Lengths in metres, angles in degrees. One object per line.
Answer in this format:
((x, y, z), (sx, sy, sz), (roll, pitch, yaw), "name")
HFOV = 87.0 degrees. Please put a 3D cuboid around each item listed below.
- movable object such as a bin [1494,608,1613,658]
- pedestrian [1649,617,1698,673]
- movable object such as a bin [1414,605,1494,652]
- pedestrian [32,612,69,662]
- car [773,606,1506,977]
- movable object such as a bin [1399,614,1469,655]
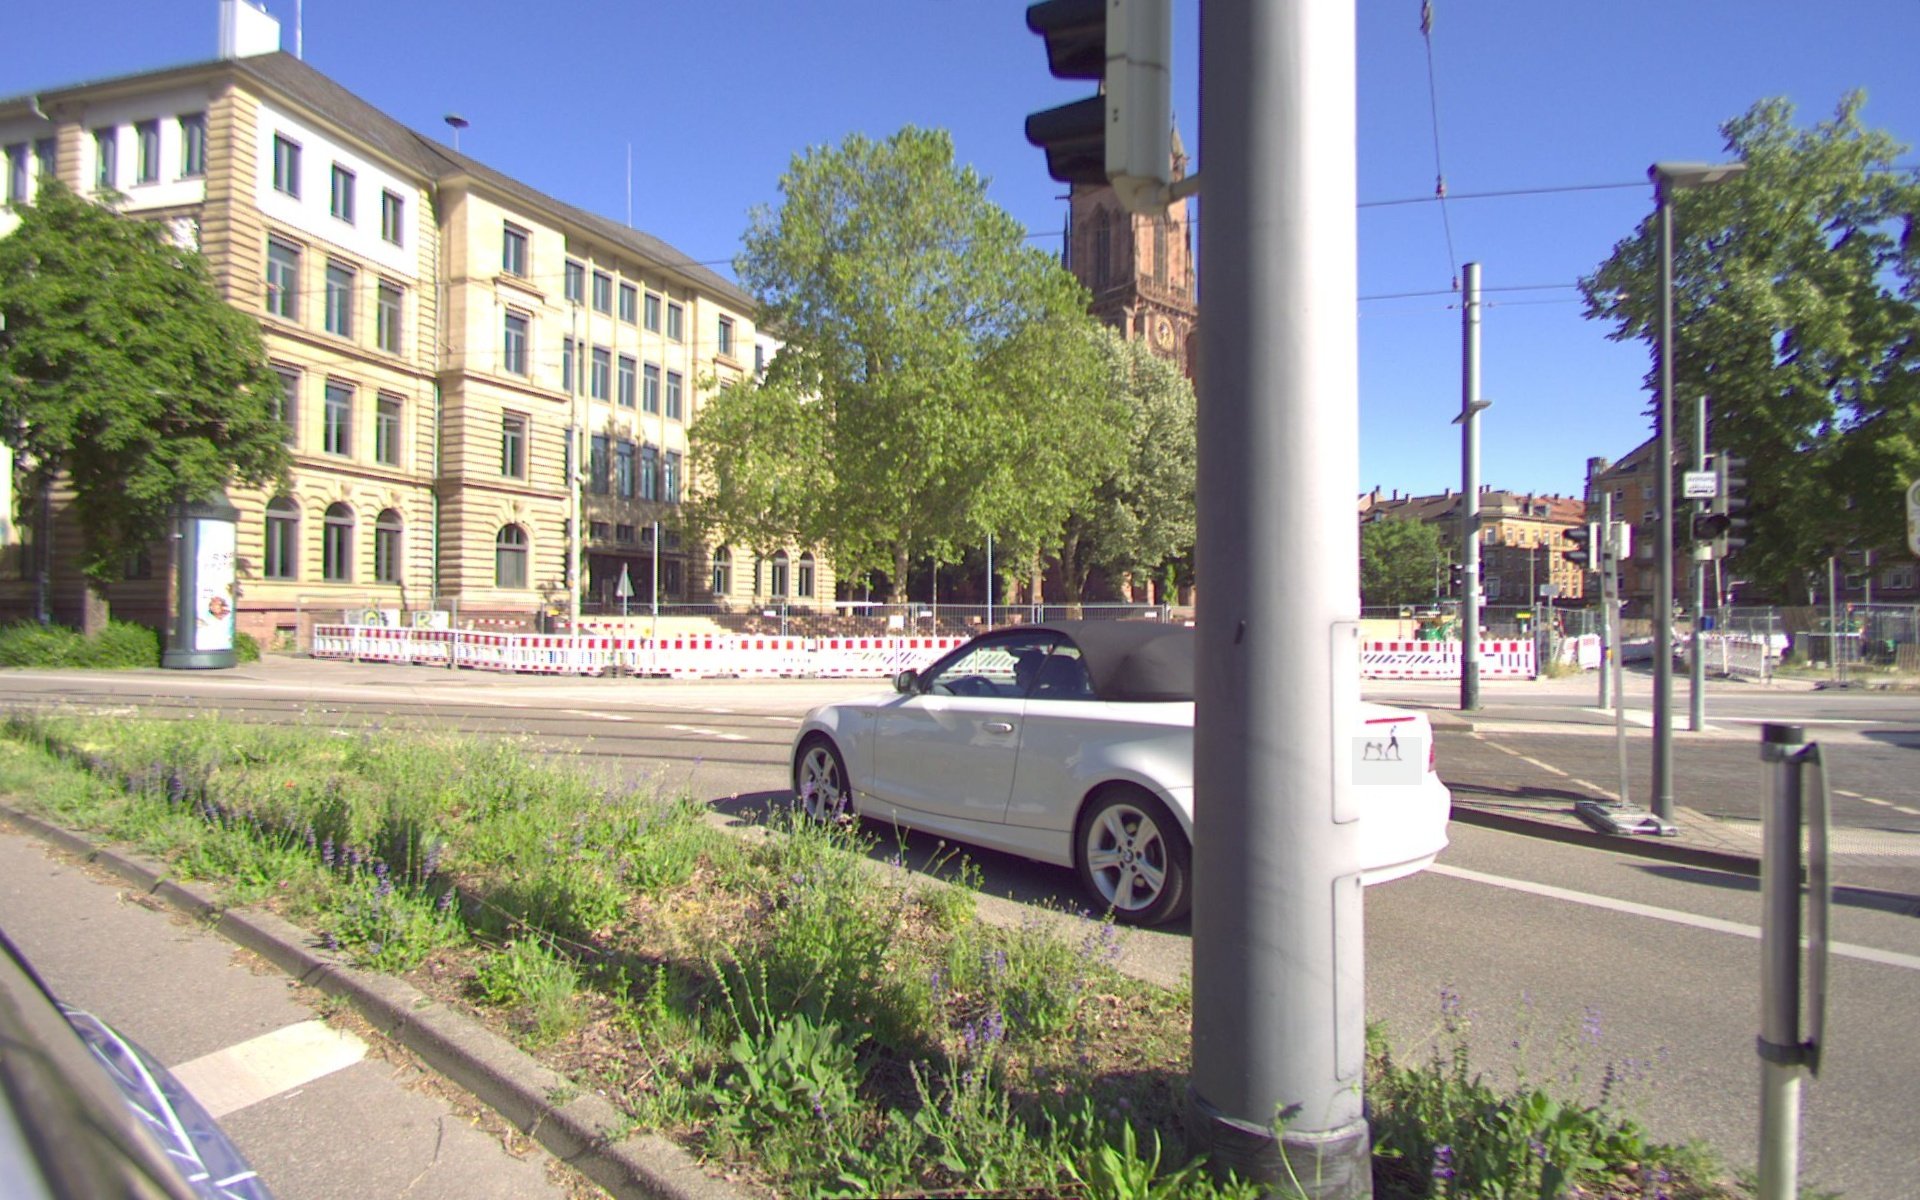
((36.764, 1.979, 62.900), (1.863, 2.780, 6.101), (1, 0, -35), "movable object such as a bin")
((22.924, 1.432, 32.518), (0.850, 1.781, 0.977), (1, -2, -26), "pedestrian")
((35.344, 1.960, 72.369), (5.162, 3.197, 3.126), (1, 0, -38), "movable object such as a bin")
((-29.057, 1.184, 32.336), (0.648, 1.574, 0.576), (0, -1, 15), "pedestrian")
((0.715, 0.802, 6.006), (1.777, 1.404, 4.099), (4, -3, -40), "car")
((28.770, 2.083, 61.455), (4.158, 2.364, 1.900), (1, 0, -33), "movable object such as a bin")
